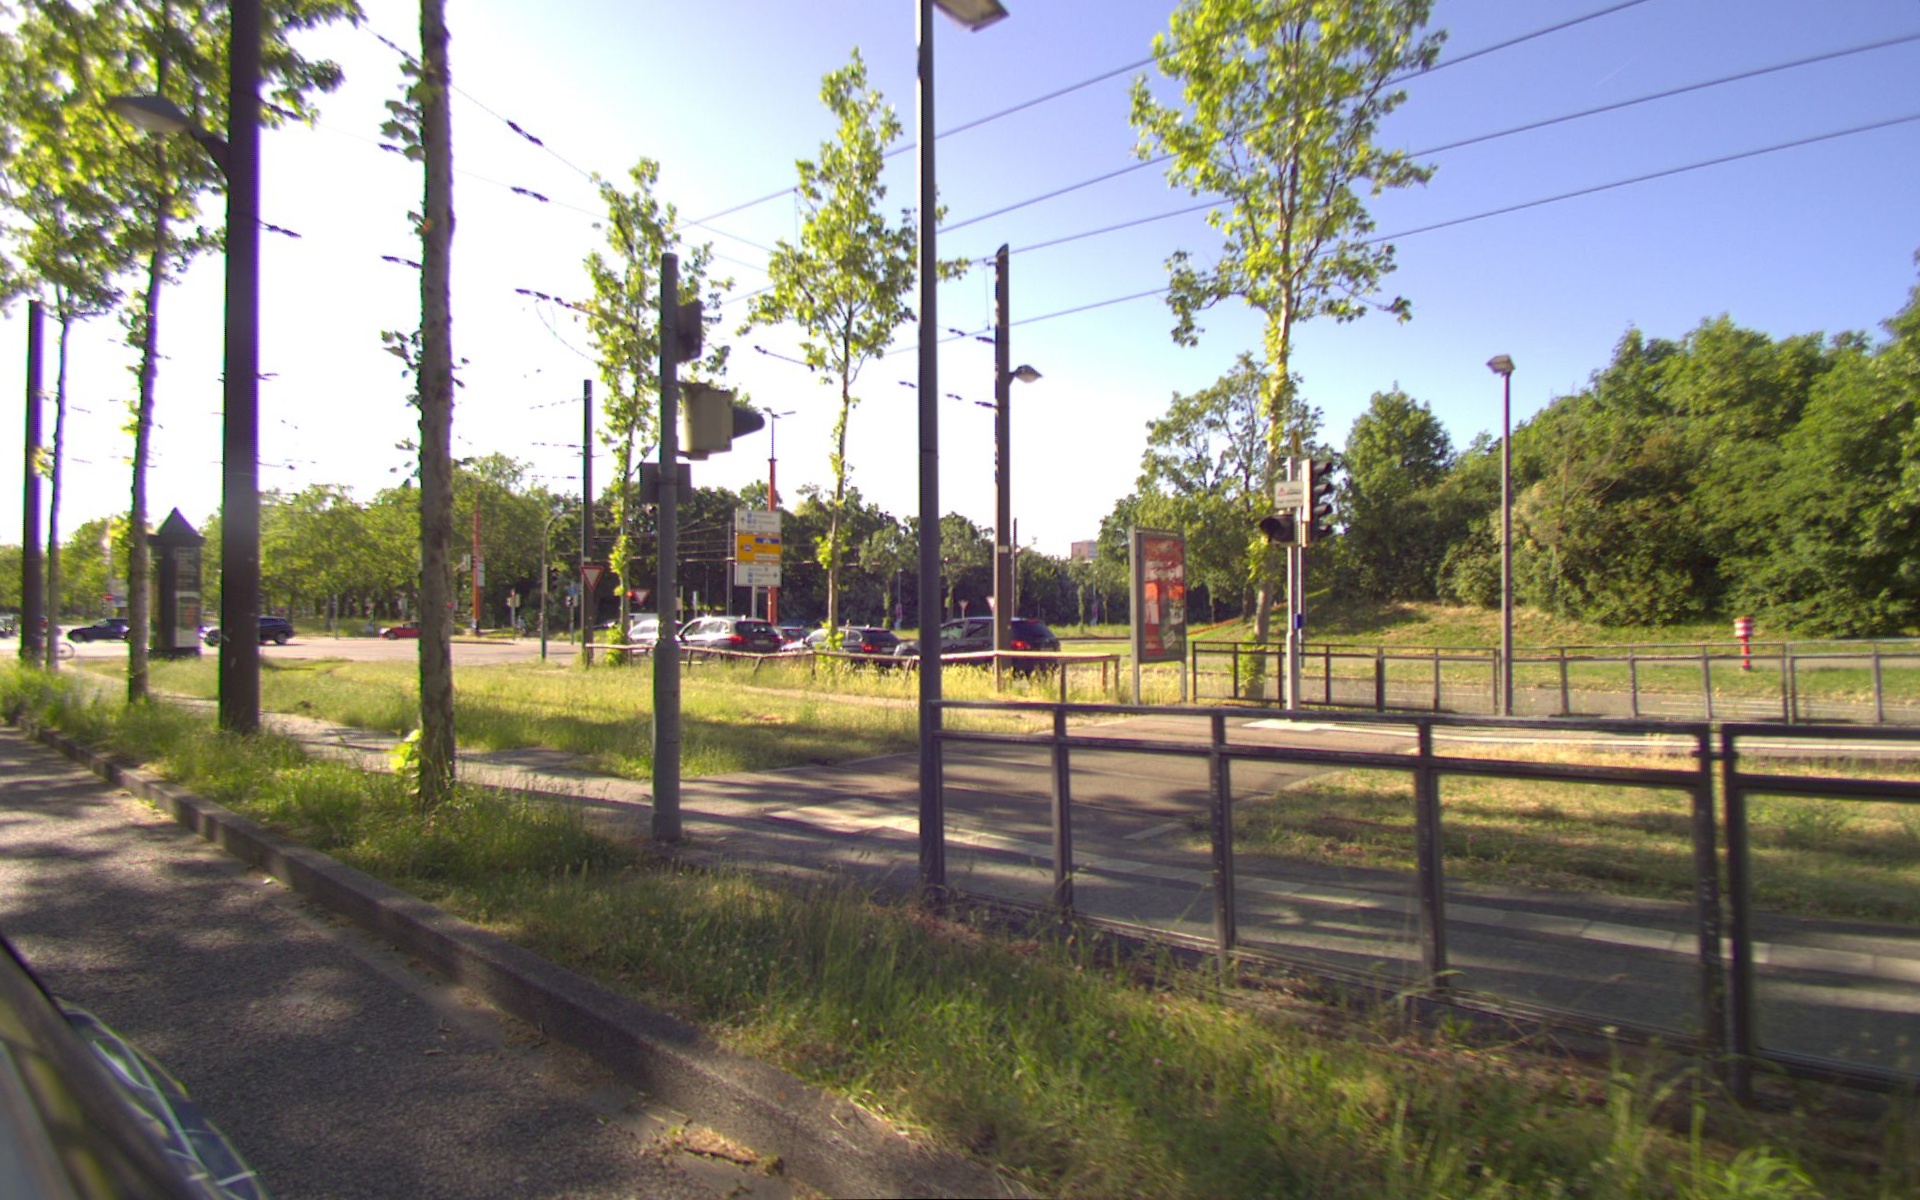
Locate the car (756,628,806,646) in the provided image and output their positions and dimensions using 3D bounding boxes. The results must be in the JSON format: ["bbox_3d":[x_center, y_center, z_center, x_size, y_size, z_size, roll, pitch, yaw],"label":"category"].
[{"bbox_3d":[-15.300,3.172,86.482,3.930,1.522,1.806,0,-2,-22],"label":"car"}]

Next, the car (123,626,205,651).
[{"bbox_3d":[-52.880,2.543,67.325,3.931,1.667,1.806,0,-2,-21],"label":"car"}]

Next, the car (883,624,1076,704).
[{"bbox_3d":[0.362,1.370,22.883,4.266,1.620,1.775,-1,-2,42],"label":"car"}]

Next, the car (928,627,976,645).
[{"bbox_3d":[-0.697,3.255,91.708,3.930,1.522,1.806,0,-2,-22],"label":"car"}]

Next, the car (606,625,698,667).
[{"bbox_3d":[-12.958,1.891,42.433,4.266,1.691,1.775,-1,-2,42],"label":"car"}]

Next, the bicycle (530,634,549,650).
[{"bbox_3d":[-29.342,2.928,70.625,1.801,1.116,0.554,-1,-2,44],"label":"bicycle"}]

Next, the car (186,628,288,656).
[{"bbox_3d":[-41.971,2.402,58.882,1.778,1.522,4.591,-1,-2,22],"label":"car"}]

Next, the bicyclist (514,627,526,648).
[{"bbox_3d":[-30.333,2.583,69.796,0.778,1.458,0.493,-1,-2,44],"label":"bicyclist"}]

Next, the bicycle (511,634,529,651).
[{"bbox_3d":[-30.333,2.914,69.788,1.801,1.116,0.493,-1,-2,44],"label":"bicycle"}]

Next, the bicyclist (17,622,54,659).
[{"bbox_3d":[-37.512,1.637,41.073,0.940,1.489,0.705,0,-1,-25],"label":"bicyclist"}]

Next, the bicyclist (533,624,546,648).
[{"bbox_3d":[-29.342,2.501,70.635,0.715,1.665,0.554,-1,-2,44],"label":"bicyclist"}]

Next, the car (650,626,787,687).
[{"bbox_3d":[-6.972,1.560,29.017,4.232,1.629,1.775,-1,-2,42],"label":"car"}]

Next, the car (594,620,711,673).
[{"bbox_3d":[-10.129,1.490,33.203,4.232,1.629,1.775,-2,-2,42],"label":"car"}]

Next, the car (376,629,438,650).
[{"bbox_3d":[-41.403,2.979,75.871,3.930,1.522,1.806,0,-2,-22],"label":"car"}]

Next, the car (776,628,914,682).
[{"bbox_3d":[-3.525,1.604,30.570,4.266,1.522,1.775,-1,-2,42],"label":"car"}]

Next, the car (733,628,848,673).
[{"bbox_3d":[-6.176,1.779,36.620,4.263,1.522,1.776,-1,-2,40],"label":"car"}]

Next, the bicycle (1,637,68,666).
[{"bbox_3d":[-37.514,2.071,41.065,1.868,1.116,0.705,0,-1,-25],"label":"bicycle"}]

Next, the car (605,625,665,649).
[{"bbox_3d":[-26.291,2.981,81.955,4.478,1.849,1.806,0,-2,-22],"label":"car"}]

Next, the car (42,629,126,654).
[{"bbox_3d":[-59.101,2.775,68.349,3.930,1.667,1.806,0,-2,-22],"label":"car"}]
